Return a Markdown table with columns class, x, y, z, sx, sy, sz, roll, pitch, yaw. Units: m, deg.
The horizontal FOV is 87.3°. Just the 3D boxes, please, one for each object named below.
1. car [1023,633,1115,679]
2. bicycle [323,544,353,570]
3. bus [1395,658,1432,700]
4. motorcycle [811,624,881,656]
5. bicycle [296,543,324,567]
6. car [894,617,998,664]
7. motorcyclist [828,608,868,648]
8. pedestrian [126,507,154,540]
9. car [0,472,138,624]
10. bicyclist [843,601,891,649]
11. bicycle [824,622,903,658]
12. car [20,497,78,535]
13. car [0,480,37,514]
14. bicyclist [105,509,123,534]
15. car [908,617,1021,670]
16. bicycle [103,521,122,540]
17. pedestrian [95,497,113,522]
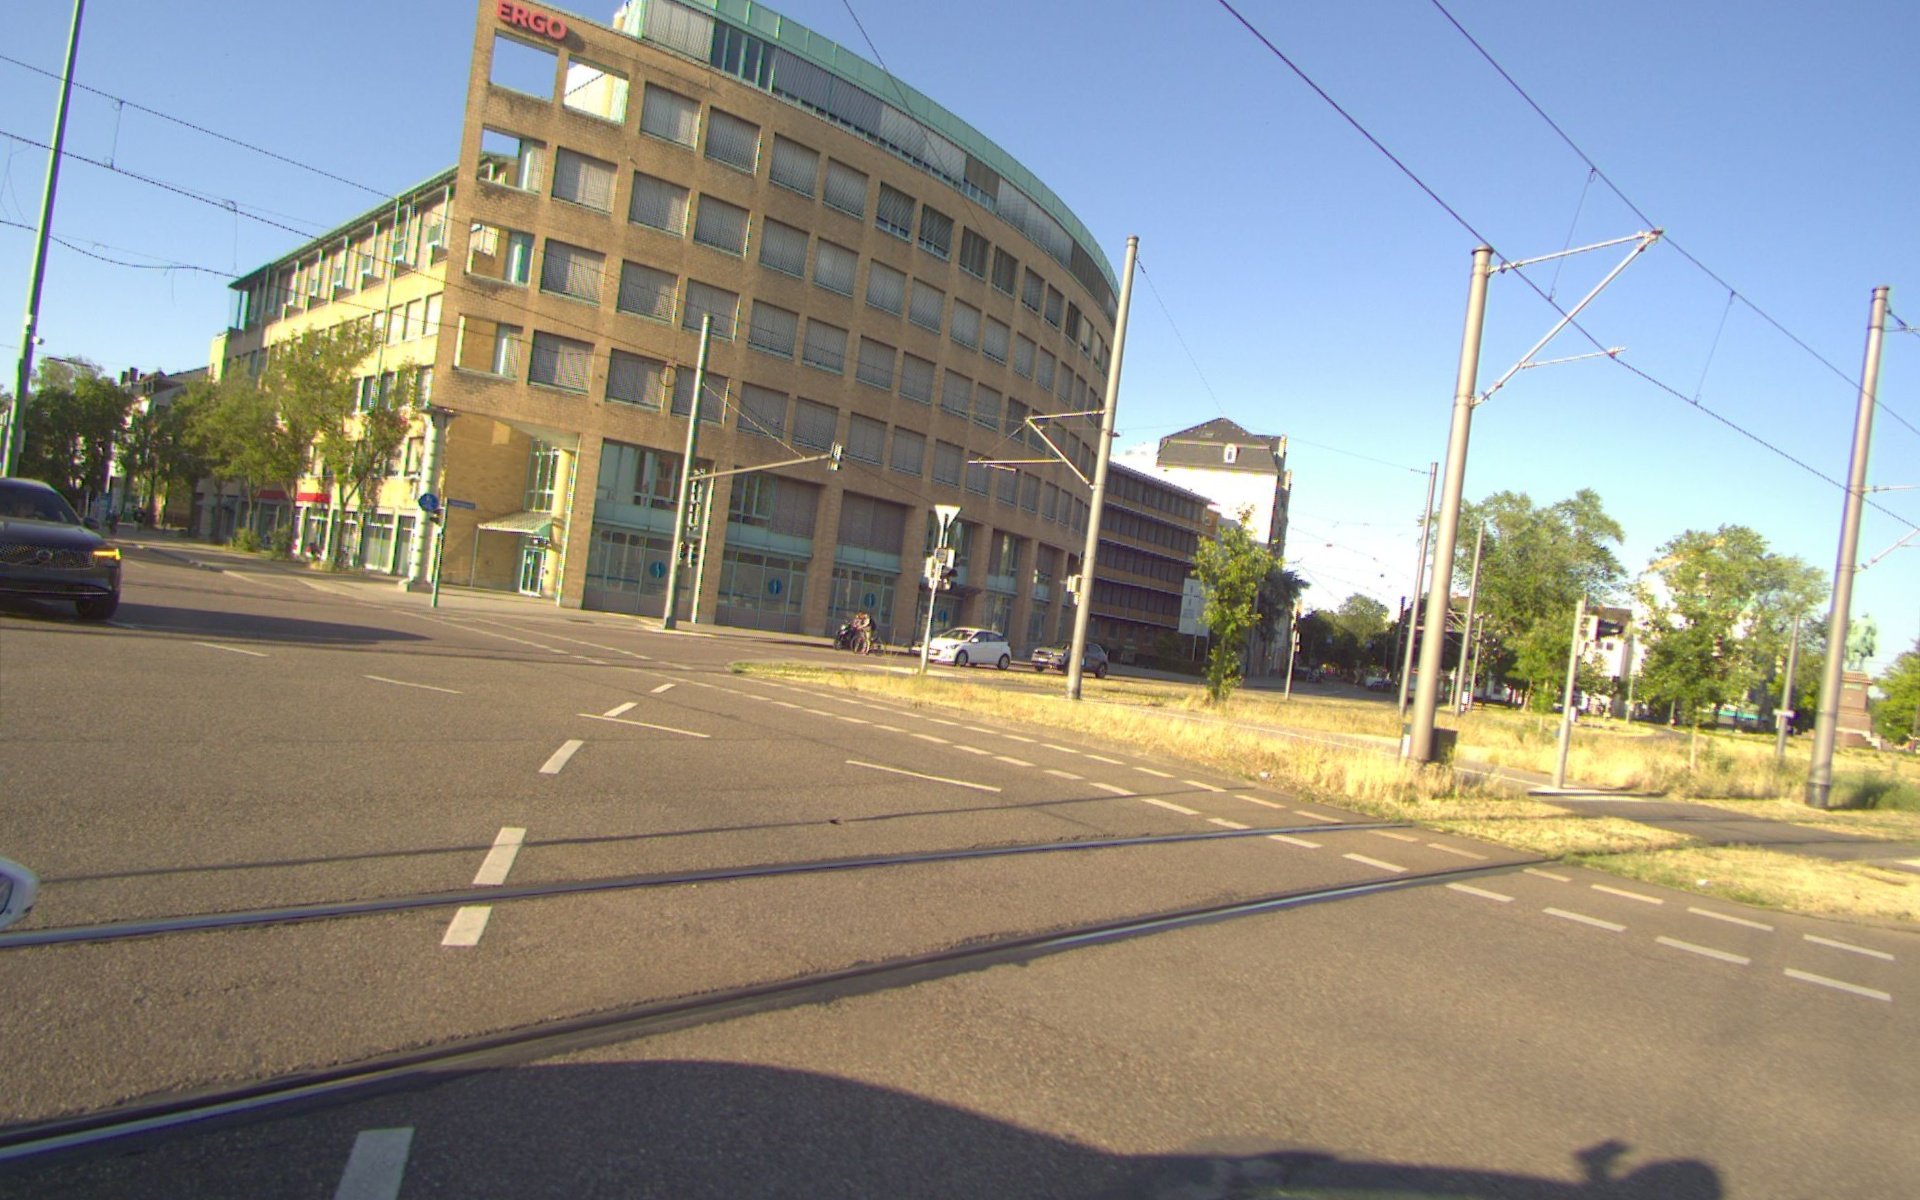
| class | x | y | z | sx | sy | sz | roll | pitch | yaw |
| --- | --- | --- | --- | --- | --- | --- | --- | --- | --- |
| car | 4.744 | 2.429 | 43.530 | 1.795 | 1.509 | 4.046 | 7 | -1 | 42 |
| bicycle | -29.554 | -2.051 | 47.785 | 2.053 | 1.006 | 0.645 | 7 | -1 | 43 |
| bus | 40.814 | 7.132 | 90.314 | 2.368 | 3.247 | 11.112 | 7 | -1 | 26 |
| motorcycle | -4.584 | 1.613 | 40.627 | 1.018 | 0.975 | 2.714 | 7 | -1 | 42 |
| bicycle | -32.952 | -2.275 | 51.001 | 2.053 | 1.006 | 0.645 | 7 | -1 | 43 |
| car | -0.574 | 1.849 | 45.025 | 1.960 | 1.555 | 4.474 | 7 | -1 | 44 |
| motorcyclist | -4.513 | 1.127 | 40.636 | 1.018 | 1.453 | 1.064 | 7 | 0 | 43 |
| pedestrian | -54.197 | -5.077 | 66.467 | 1.146 | 2.000 | 1.105 | 7 | 0 | 43 |
| car | -13.436 | -0.850 | 13.740 | 4.951 | 1.744 | 1.995 | 6 | -1 | 34 |
| bicyclist | -3.541 | 0.950 | 38.308 | 1.138 | 1.591 | 1.221 | 7 | 0 | 42 |
| bicycle | -3.645 | 1.529 | 38.276 | 1.138 | 1.012 | 2.957 | 7 | -1 | 41 |
| car | -50.041 | -4.644 | 55.238 | 4.213 | 1.625 | 1.914 | 7 | -2 | 44 |
| car | -80.557 | -8.804 | 85.945 | 3.947 | 2.468 | 1.991 | 7 | -2 | 44 |
| bicyclist | -51.218 | -4.731 | 60.876 | 0.917 | 1.385 | 0.591 | 8 | -1 | 44 |
| car | 0.208 | 1.696 | 38.463 | 1.967 | 1.509 | 4.159 | 7 | -1 | 41 |
| bicycle | -51.311 | -4.204 | 60.886 | 1.952 | 0.954 | 0.591 | 8 | -1 | 44 |
| pedestrian | -67.651 | -7.122 | 79.466 | 0.765 | 1.825 | 0.846 | 8 | 0 | 43 |
